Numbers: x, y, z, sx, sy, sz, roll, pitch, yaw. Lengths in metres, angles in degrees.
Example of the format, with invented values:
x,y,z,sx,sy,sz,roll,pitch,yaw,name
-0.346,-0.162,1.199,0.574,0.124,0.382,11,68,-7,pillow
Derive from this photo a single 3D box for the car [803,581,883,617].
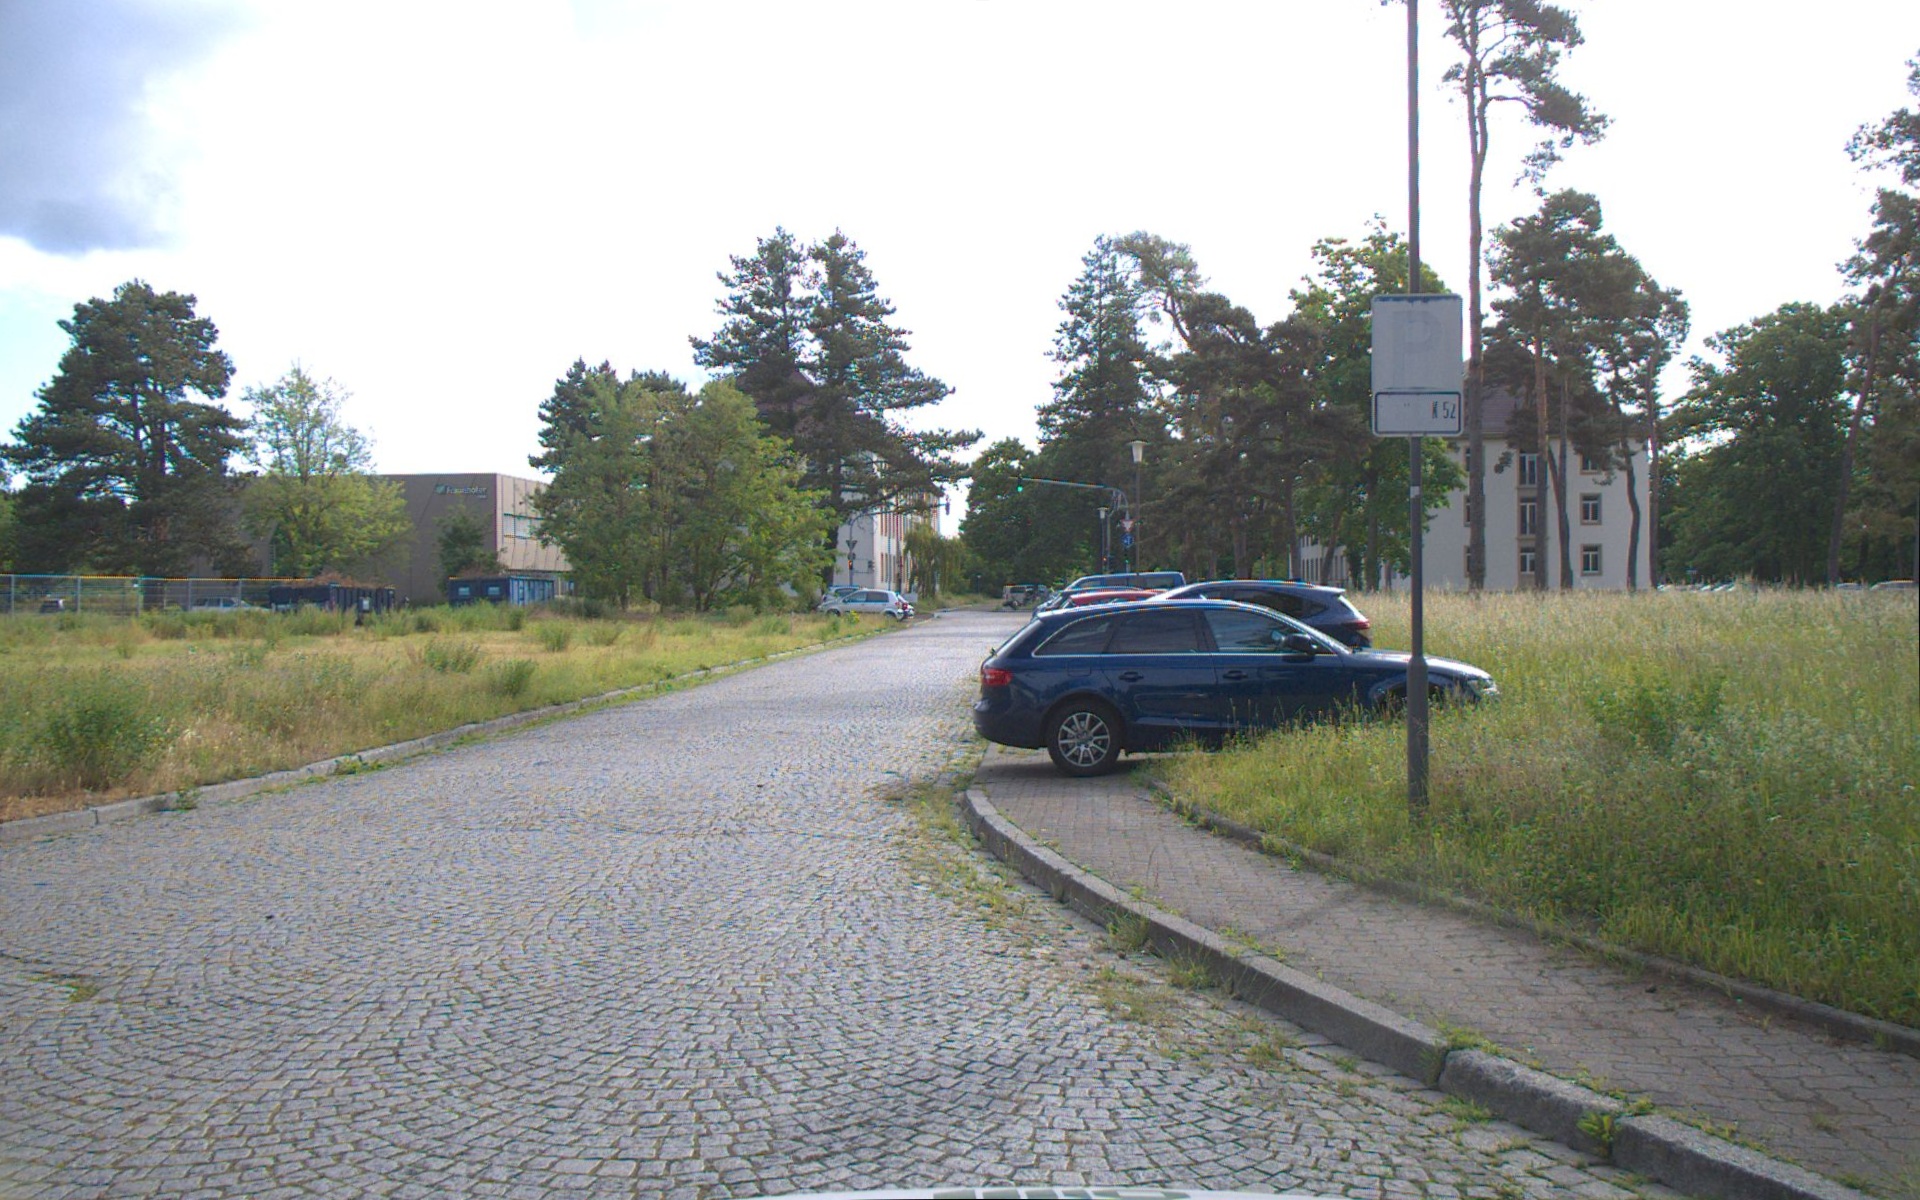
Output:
x,y,z,sx,sy,sz,roll,pitch,yaw,name
-5.485,-0.056,77.501,3.647,1.462,1.625,-3,1,-5,car

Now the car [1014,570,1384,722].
x,y,z,sx,sy,sz,roll,pitch,yaw,name
2.685,0.498,19.226,4.052,1.600,1.791,-1,1,2,car

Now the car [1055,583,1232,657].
x,y,z,sx,sy,sz,roll,pitch,yaw,name
4.095,0.447,37.387,3.858,1.547,1.708,-1,0,3,car

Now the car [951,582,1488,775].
x,y,z,sx,sy,sz,roll,pitch,yaw,name
2.196,0.652,14.449,4.337,1.505,1.683,-1,0,7,car

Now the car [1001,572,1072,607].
x,y,z,sx,sy,sz,roll,pitch,yaw,name
6.398,-0.919,139.703,5.665,2.606,2.769,-4,1,-2,car

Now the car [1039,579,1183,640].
x,y,z,sx,sy,sz,roll,pitch,yaw,name
4.170,0.261,46.180,3.839,1.417,1.743,-4,1,2,car

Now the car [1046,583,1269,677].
x,y,z,sx,sy,sz,roll,pitch,yaw,name
3.465,0.519,29.503,3.803,1.504,1.672,-2,0,3,car

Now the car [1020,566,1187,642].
x,y,z,sx,sy,sz,roll,pitch,yaw,name
4.197,0.102,48.919,4.721,1.898,2.162,-4,1,2,car

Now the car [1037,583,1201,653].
x,y,z,sx,sy,sz,roll,pitch,yaw,name
3.806,0.424,40.061,3.825,1.631,1.821,0,0,1,car

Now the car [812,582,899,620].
x,y,z,sx,sy,sz,roll,pitch,yaw,name
-4.532,0.039,72.124,3.644,1.462,1.627,-3,1,-1,car
